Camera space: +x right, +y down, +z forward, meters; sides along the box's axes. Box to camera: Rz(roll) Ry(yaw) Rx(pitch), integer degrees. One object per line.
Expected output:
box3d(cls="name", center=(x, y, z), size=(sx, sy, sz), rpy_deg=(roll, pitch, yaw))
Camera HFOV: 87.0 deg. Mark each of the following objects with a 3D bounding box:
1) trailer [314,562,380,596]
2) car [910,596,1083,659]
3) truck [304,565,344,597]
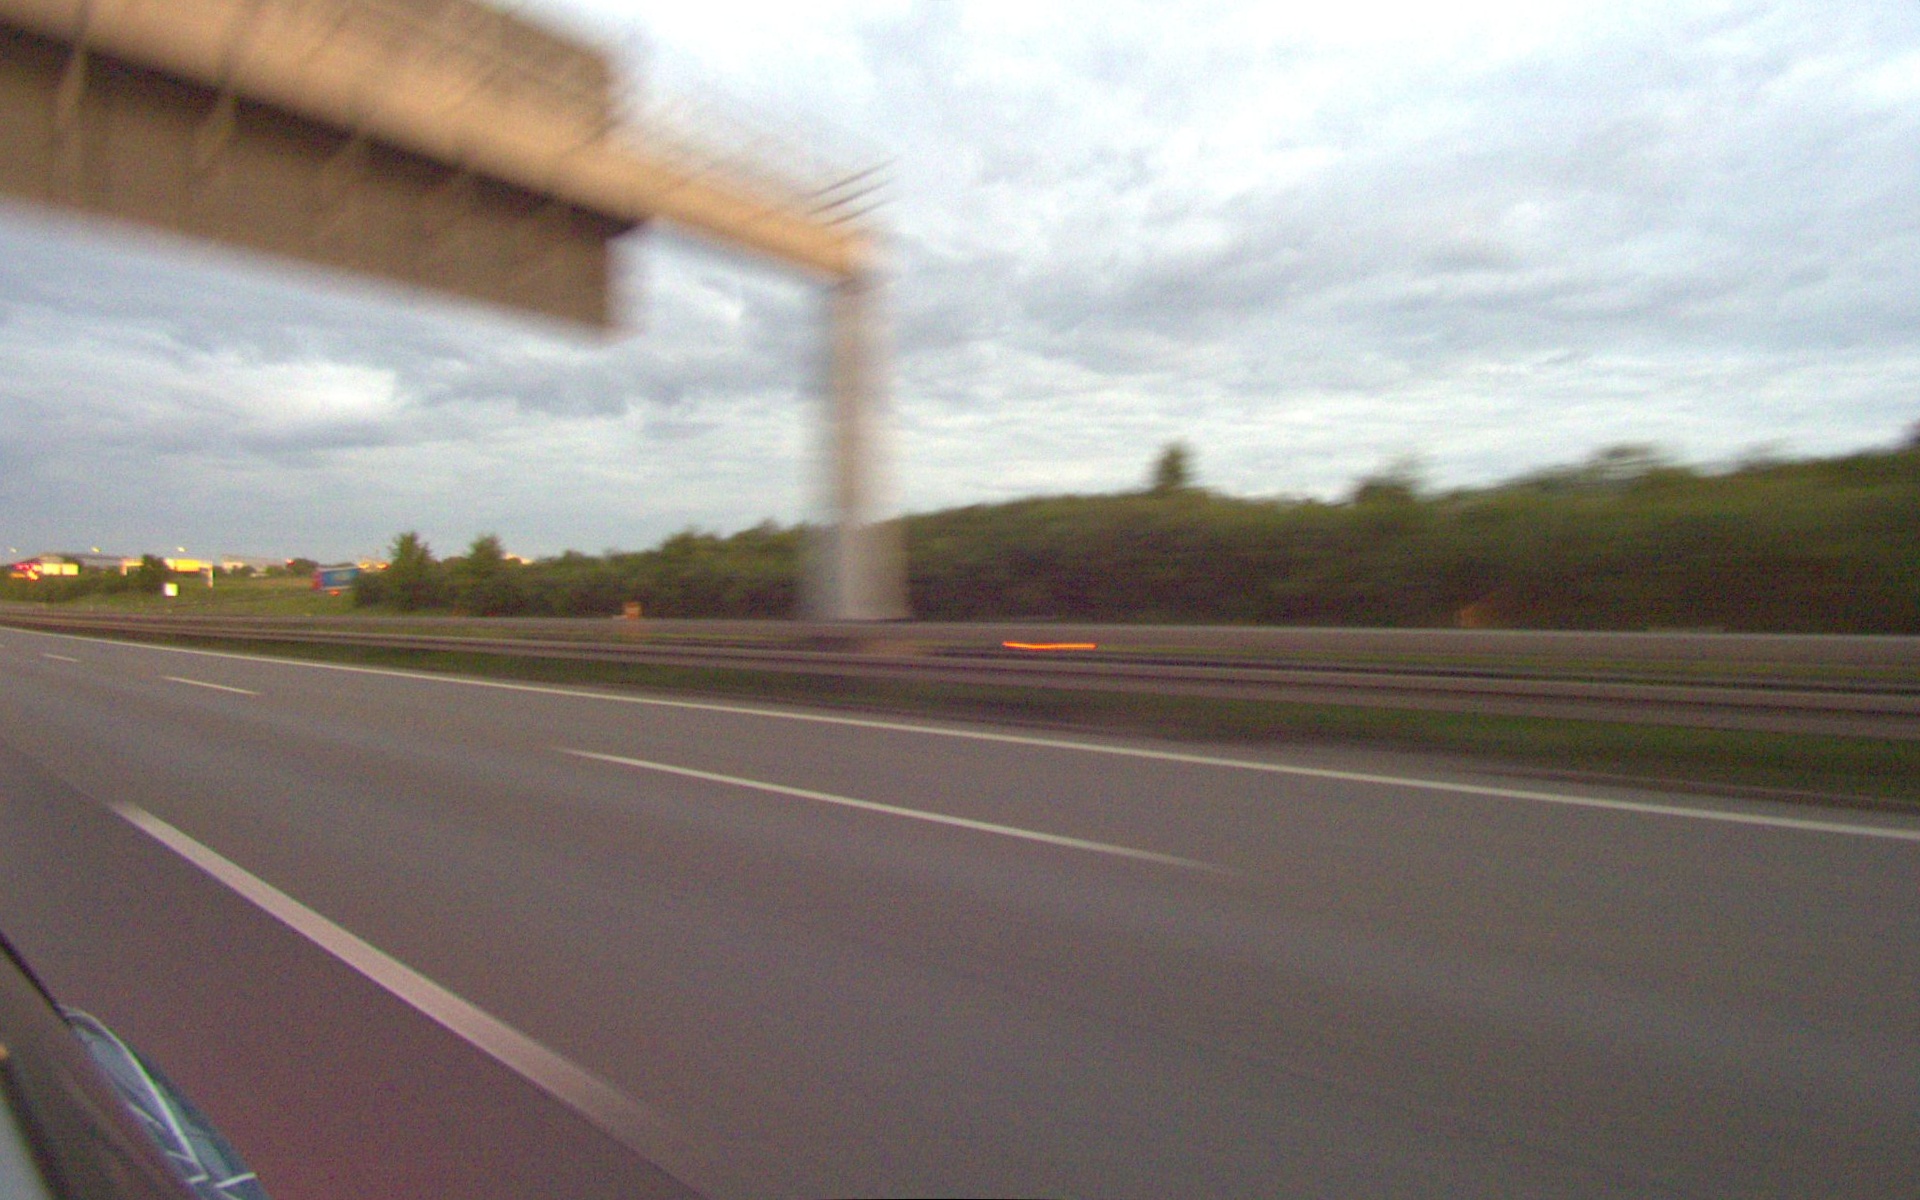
box3d(cls="trailer", center=(-79.419, -2.608, 130.971), size=(12.466, 4.102, 2.667), rpy_deg=(-1, 0, 36))
box3d(cls="car", center=(0.885, 0.642, 26.224), size=(4.427, 1.412, 1.672), rpy_deg=(1, 2, 41))
box3d(cls="truck", center=(-84.742, -2.451, 134.842), size=(5.466, 4.102, 2.667), rpy_deg=(-1, 0, 36))
